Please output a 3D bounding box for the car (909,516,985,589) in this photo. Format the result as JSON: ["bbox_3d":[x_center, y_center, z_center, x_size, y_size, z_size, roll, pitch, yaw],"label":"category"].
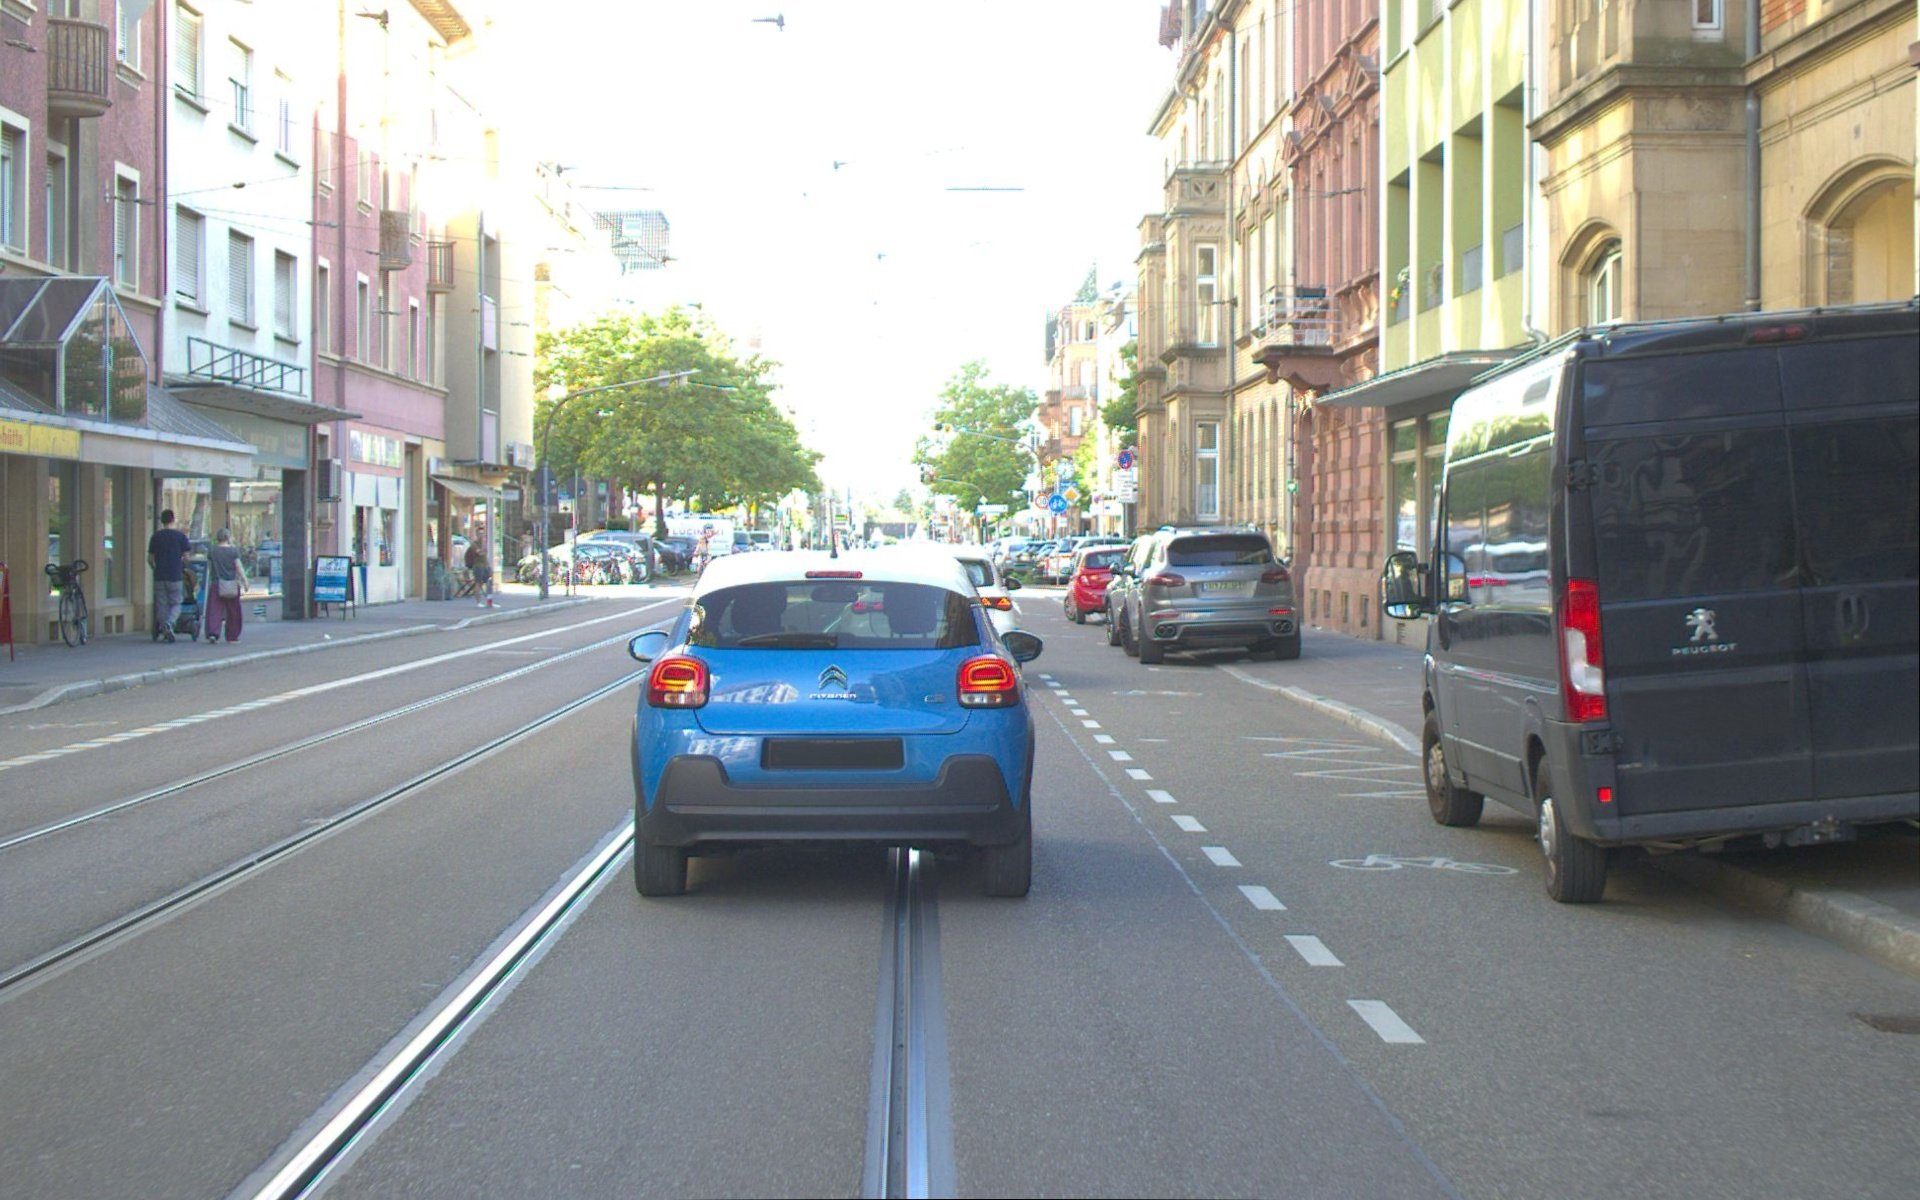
[{"bbox_3d":[-0.394,-1.338,96.628,1.993,2.007,4.001,0,1,-2],"label":"car"}]

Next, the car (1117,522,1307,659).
[{"bbox_3d":[3.179,-0.163,44.222,2.005,1.667,4.806,0,1,-1],"label":"car"}]

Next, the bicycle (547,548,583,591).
[{"bbox_3d":[-12.451,-0.961,108.394,1.120,1.315,3.645,0,1,-6],"label":"bicycle"}]

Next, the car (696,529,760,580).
[{"bbox_3d":[-7.646,-1.515,113.651,1.993,1.645,4.001,0,1,-2],"label":"car"}]

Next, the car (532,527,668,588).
[{"bbox_3d":[-12.087,-1.440,115.710,4.308,2.010,2.209,0,1,1],"label":"car"}]

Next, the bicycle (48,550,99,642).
[{"bbox_3d":[-11.606,-0.066,45.045,0.621,1.155,2.066,0,1,-14],"label":"bicycle"}]

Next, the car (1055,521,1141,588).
[{"bbox_3d":[3.697,-1.242,92.783,2.005,1.666,4.391,-3,1,-1],"label":"car"}]

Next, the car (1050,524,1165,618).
[{"bbox_3d":[2.894,-0.604,68.399,2.005,1.666,4.392,0,3,-1],"label":"car"}]

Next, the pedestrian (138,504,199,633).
[{"bbox_3d":[-10.866,-0.434,47.200,0.710,1.758,0.570,0,1,-2],"label":"pedestrian"}]

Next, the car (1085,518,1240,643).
[{"bbox_3d":[2.933,-0.317,50.440,1.905,1.751,4.001,0,1,-2],"label":"car"}]

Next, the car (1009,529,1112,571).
[{"bbox_3d":[3.901,-1.956,133.797,3.835,1.612,1.792,0,1,-3],"label":"car"}]

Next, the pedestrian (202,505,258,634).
[{"bbox_3d":[-10.060,-0.419,47.381,0.710,1.758,0.655,0,1,-9],"label":"pedestrian"}]

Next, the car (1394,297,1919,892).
[{"bbox_3d":[3.607,-0.072,16.977,2.271,2.428,5.720,0,1,1],"label":"car"}]

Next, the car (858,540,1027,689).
[{"bbox_3d":[-0.235,0.110,36.537,1.667,1.473,4.001,0,1,-2],"label":"car"}]

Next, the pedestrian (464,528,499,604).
[{"bbox_3d":[-10.315,-0.742,74.096,0.685,1.633,0.675,0,1,-2],"label":"pedestrian"}]

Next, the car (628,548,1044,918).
[{"bbox_3d":[-0.585,0.507,15.926,1.673,1.472,4.001,0,1,-2],"label":"car"}]

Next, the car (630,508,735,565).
[{"bbox_3d":[-12.690,-2.908,157.205,4.307,2.572,2.210,-1,1,-26],"label":"car"}]

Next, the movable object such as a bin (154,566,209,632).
[{"bbox_3d":[-10.834,-0.019,47.875,0.610,0.911,0.695,0,1,-1],"label":"movable object such as a bin"}]

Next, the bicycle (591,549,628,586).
[{"bbox_3d":[-11.056,-1.041,108.446,1.120,1.142,3.645,0,1,-6],"label":"bicycle"}]
